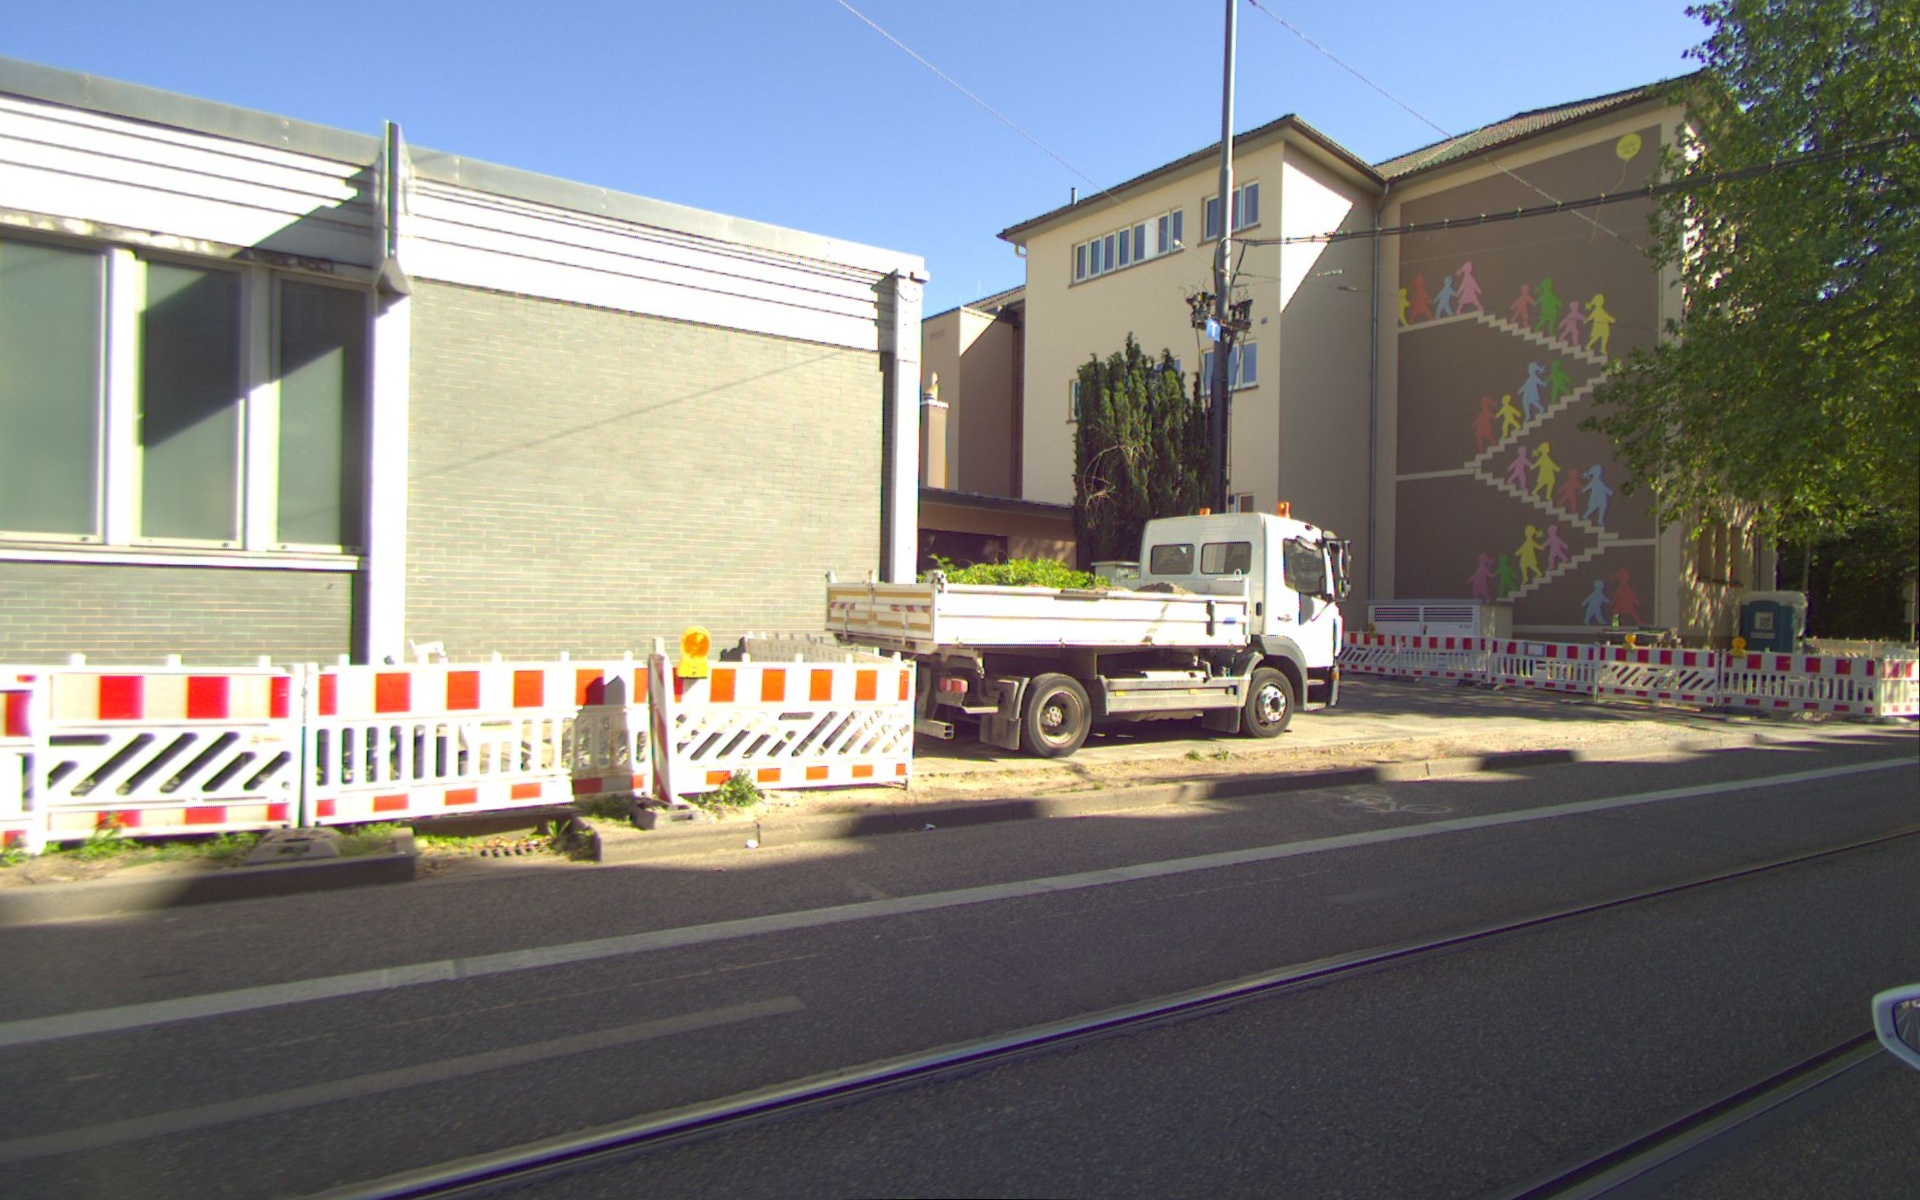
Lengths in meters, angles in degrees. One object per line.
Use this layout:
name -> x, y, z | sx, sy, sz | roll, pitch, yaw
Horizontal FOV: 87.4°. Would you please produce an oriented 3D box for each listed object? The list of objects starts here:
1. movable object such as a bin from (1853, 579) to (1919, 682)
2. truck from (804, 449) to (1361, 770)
movable object such as a bin -> 27.590, 0.874, 27.997 | 5.924, 2.680, 2.481 | 2, 1, -33
truck -> 1.626, 0.155, 11.791 | 6.310, 2.868, 2.522 | 2, 0, -34
